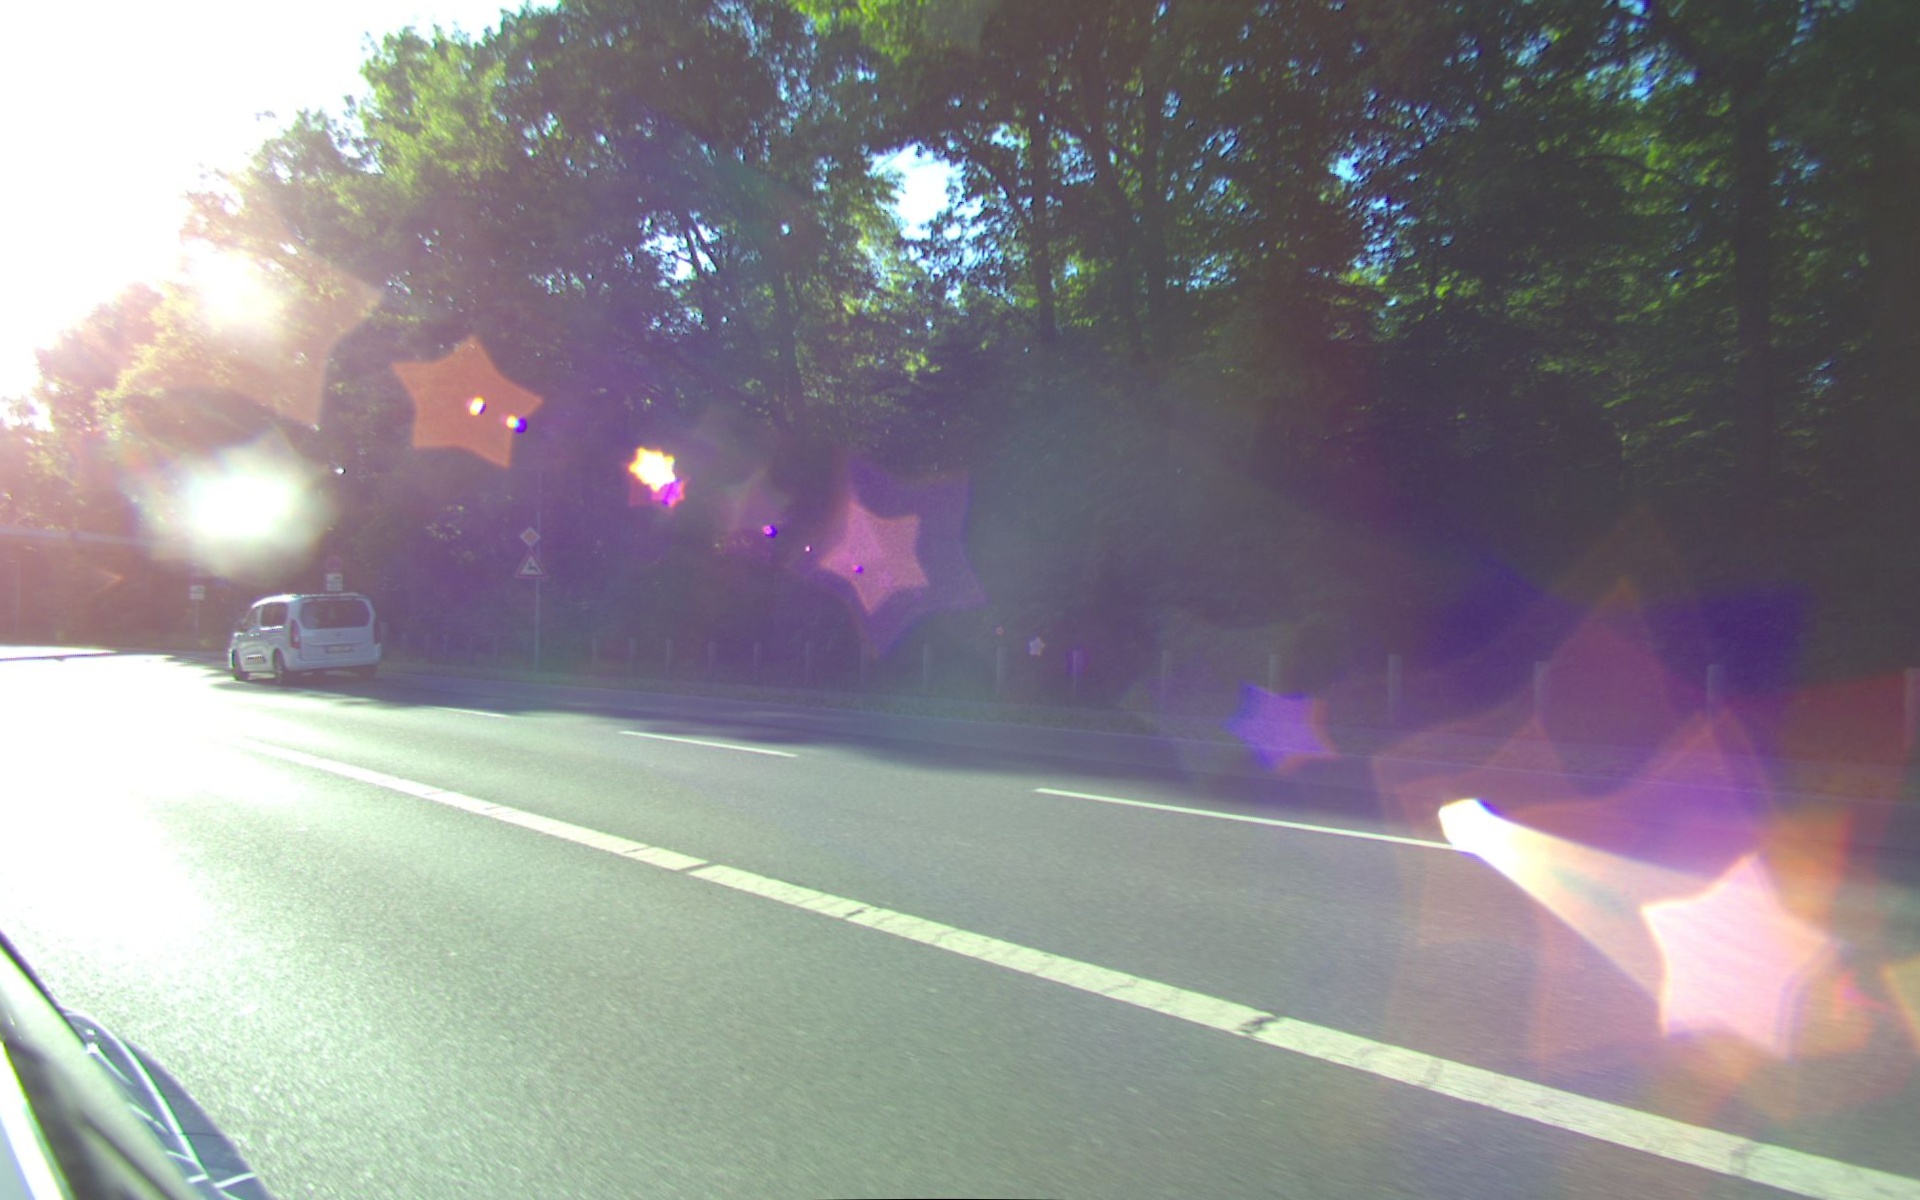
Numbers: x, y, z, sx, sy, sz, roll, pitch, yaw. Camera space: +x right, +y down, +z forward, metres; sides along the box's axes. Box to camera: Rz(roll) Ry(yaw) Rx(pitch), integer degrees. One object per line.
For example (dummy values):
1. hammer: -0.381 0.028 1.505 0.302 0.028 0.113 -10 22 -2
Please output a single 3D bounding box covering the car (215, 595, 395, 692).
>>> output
1. car: -14.440 0.890 22.195 4.996 1.840 1.981 -1 1 41
